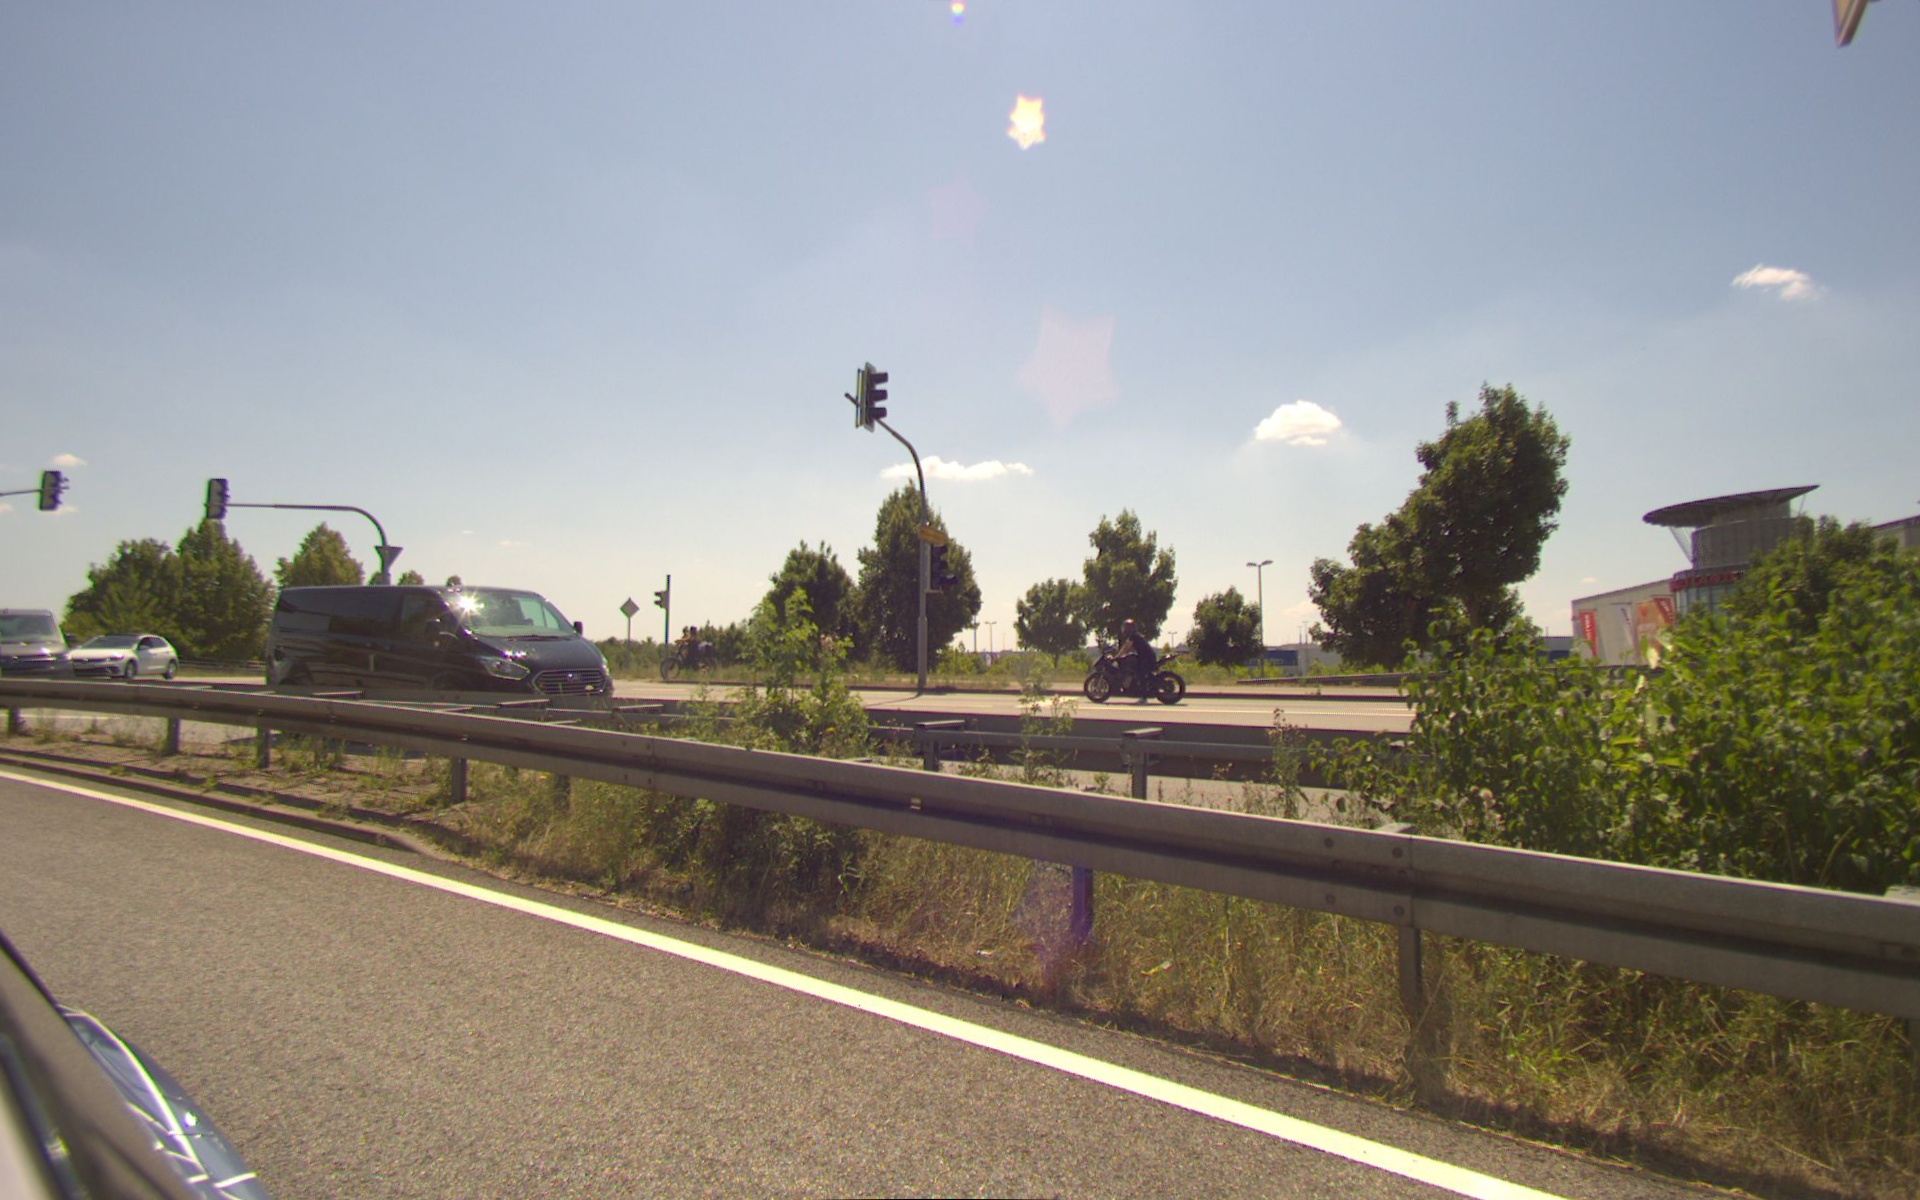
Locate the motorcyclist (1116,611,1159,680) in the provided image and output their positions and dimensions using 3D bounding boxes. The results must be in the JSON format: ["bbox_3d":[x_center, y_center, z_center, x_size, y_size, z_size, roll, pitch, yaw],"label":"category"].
[{"bbox_3d":[3.470,0.902,19.756,0.718,1.313,0.672,-1,-5,22],"label":"motorcyclist"}]

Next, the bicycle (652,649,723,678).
[{"bbox_3d":[-8.519,1.972,31.653,2.103,0.859,0.533,0,-2,10],"label":"bicycle"}]

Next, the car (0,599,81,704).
[{"bbox_3d":[-19.332,1.026,20.431,4.534,1.934,1.917,-2,-6,44],"label":"car"}]

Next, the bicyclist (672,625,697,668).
[{"bbox_3d":[-9.029,1.522,33.200,0.677,1.415,0.407,0,-2,11],"label":"bicyclist"}]

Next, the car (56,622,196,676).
[{"bbox_3d":[-26.170,1.596,31.938,1.659,1.536,4.009,2,-5,-11],"label":"car"}]

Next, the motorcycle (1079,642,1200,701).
[{"bbox_3d":[3.486,1.382,19.712,2.269,1.088,0.560,-1,-4,22],"label":"motorcycle"}]

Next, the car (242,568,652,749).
[{"bbox_3d":[-6.746,0.678,13.163,5.386,1.952,2.105,-1,-1,29],"label":"car"}]

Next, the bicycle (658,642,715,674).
[{"bbox_3d":[-8.961,1.896,33.179,1.812,1.032,0.413,0,-2,11],"label":"bicycle"}]

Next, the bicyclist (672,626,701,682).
[{"bbox_3d":[-8.552,1.689,31.655,0.722,1.731,0.530,0,-2,10],"label":"bicyclist"}]
